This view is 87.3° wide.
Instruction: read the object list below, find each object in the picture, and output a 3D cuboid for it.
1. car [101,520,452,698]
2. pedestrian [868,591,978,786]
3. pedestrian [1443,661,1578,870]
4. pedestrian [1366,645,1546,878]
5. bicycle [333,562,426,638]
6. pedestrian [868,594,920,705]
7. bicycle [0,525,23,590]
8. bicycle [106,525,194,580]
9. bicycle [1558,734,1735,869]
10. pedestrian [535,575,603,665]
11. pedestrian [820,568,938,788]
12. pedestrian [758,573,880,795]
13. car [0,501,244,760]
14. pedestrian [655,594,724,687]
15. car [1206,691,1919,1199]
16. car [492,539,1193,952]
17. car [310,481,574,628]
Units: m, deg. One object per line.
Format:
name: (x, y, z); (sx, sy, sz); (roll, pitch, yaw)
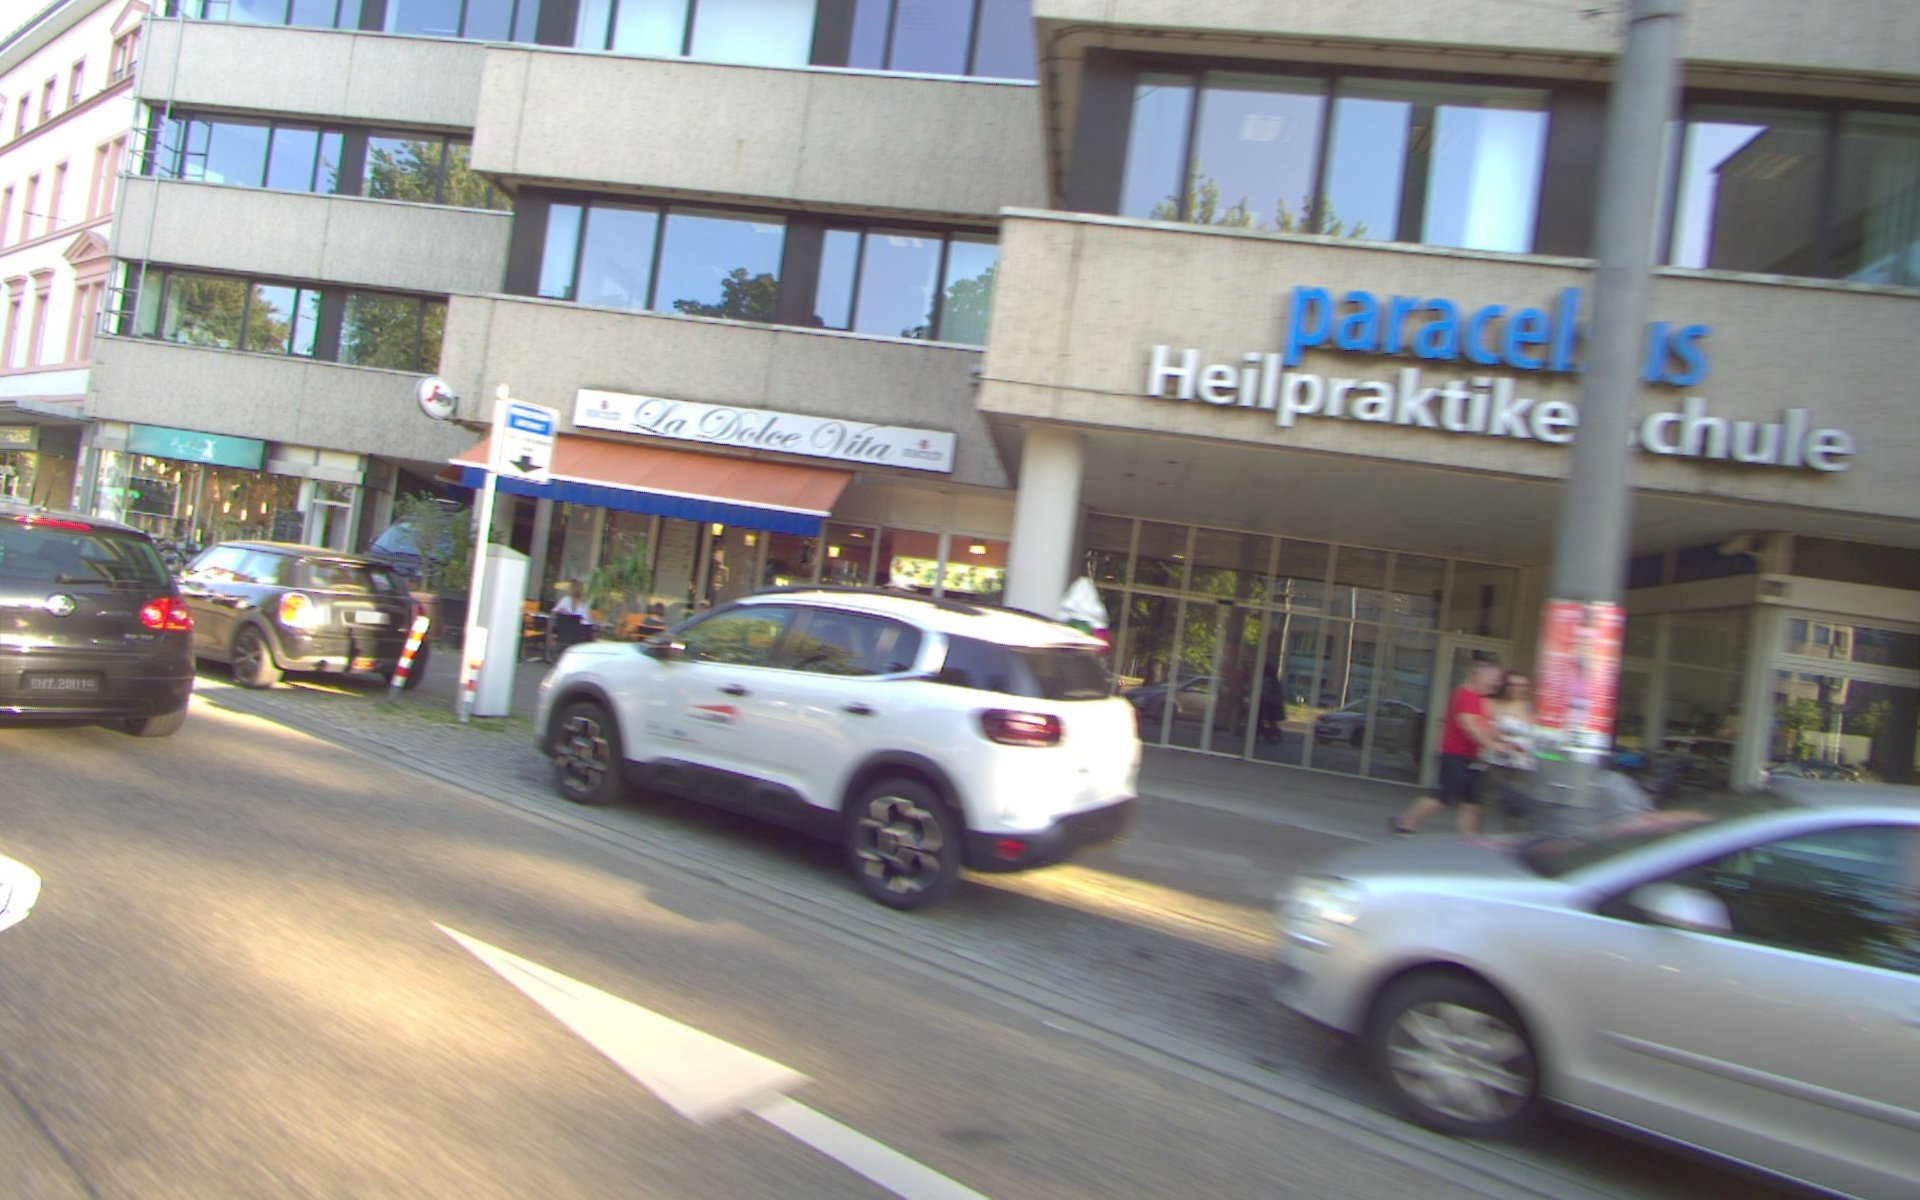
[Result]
car: (-7.613, 0.063, 11.142); (3.758, 1.459, 1.664); (7, 0, 30)
pedestrian: (-0.353, 0.836, 9.749); (0.651, 1.762, 0.622); (7, 1, 34)
pedestrian: (4.954, 1.462, 9.040); (0.986, 1.693, 0.634); (8, 0, -44)
pedestrian: (4.219, 1.334, 8.578); (0.695, 1.748, 1.020); (7, 0, -43)
bicycle: (-9.508, -0.009, 16.547); (0.525, 1.133, 1.813); (7, 0, -6)
pedestrian: (-1.107, 0.847, 17.086); (0.511, 1.779, 0.600); (8, -2, 10)
bicycle: (-18.054, -0.860, 18.080); (1.586, 1.133, 0.609); (7, 1, -24)
bicycle: (-19.282, -1.133, 23.964); (1.498, 1.133, 0.514); (6, 2, -11)
bicycle: (7.470, 2.160, 11.060); (0.475, 1.085, 1.757); (7, 0, -6)
pedestrian: (-6.112, 0.315, 15.736); (0.650, 1.297, 0.653); (7, 0, 3)
pedestrian: (-0.739, 0.698, 9.208); (0.651, 1.882, 0.622); (7, 2, 34)
pedestrian: (-1.214, 0.700, 8.666); (0.651, 1.782, 0.578); (7, 2, 34)
car: (-7.008, 0.017, 7.072); (4.037, 1.477, 1.751); (7, -3, 33)
pedestrian: (-4.093, 0.605, 15.246); (0.650, 1.297, 0.768); (7, 0, 5)
car: (3.078, 1.341, 3.635); (3.793, 1.459, 1.663); (7, 0, 34)
car: (-0.938, 0.709, 6.896); (4.430, 1.735, 1.869); (7, 0, 32)
car: (-10.604, -0.772, 21.234); (2.052, 2.471, 5.338); (7, -1, 8)
